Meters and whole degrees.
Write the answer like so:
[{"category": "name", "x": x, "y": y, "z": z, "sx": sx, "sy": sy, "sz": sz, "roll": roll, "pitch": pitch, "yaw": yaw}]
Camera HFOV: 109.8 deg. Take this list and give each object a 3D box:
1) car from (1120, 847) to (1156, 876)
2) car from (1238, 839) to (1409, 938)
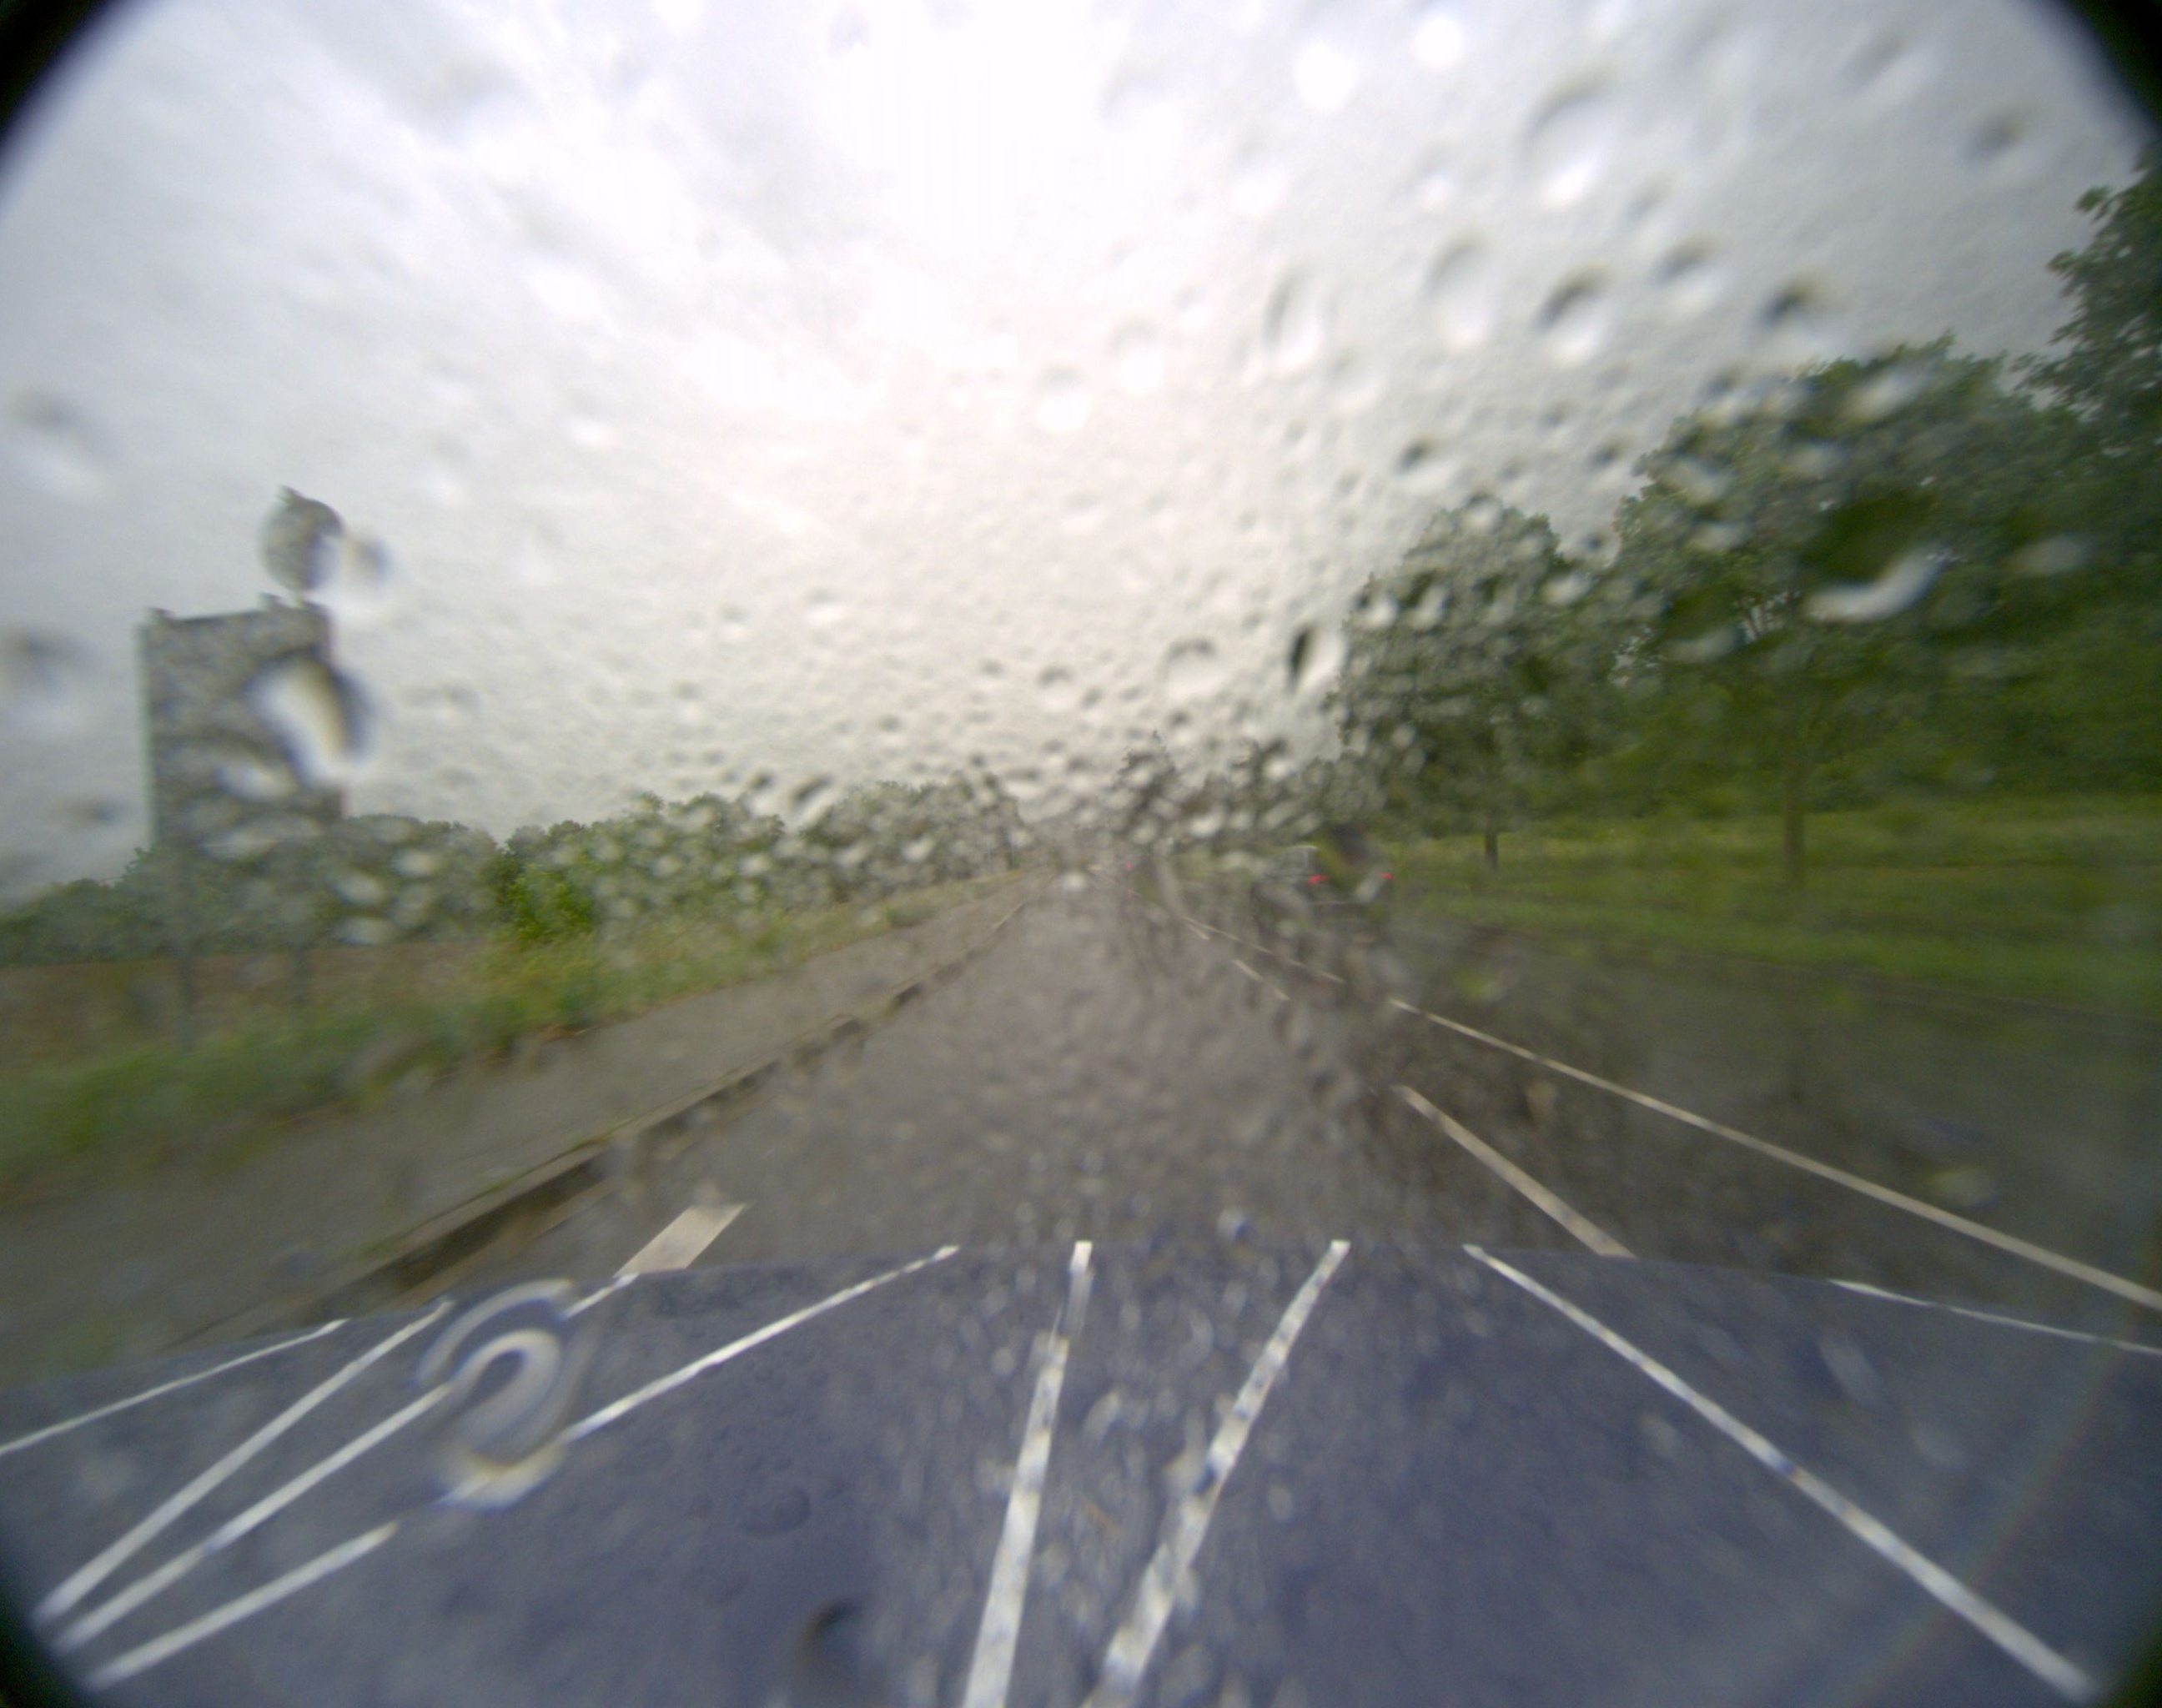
[{"category": "car", "x": 3.570, "y": 0.430, "z": 48.124, "sx": 1.746, "sy": 1.694, "sz": 4.221, "roll": -2, "pitch": 0, "yaw": -3}, {"category": "car", "x": 4.828, "y": 0.604, "z": 15.852, "sx": 1.930, "sy": 1.733, "sz": 4.287, "roll": -2, "pitch": 0, "yaw": -4}]
